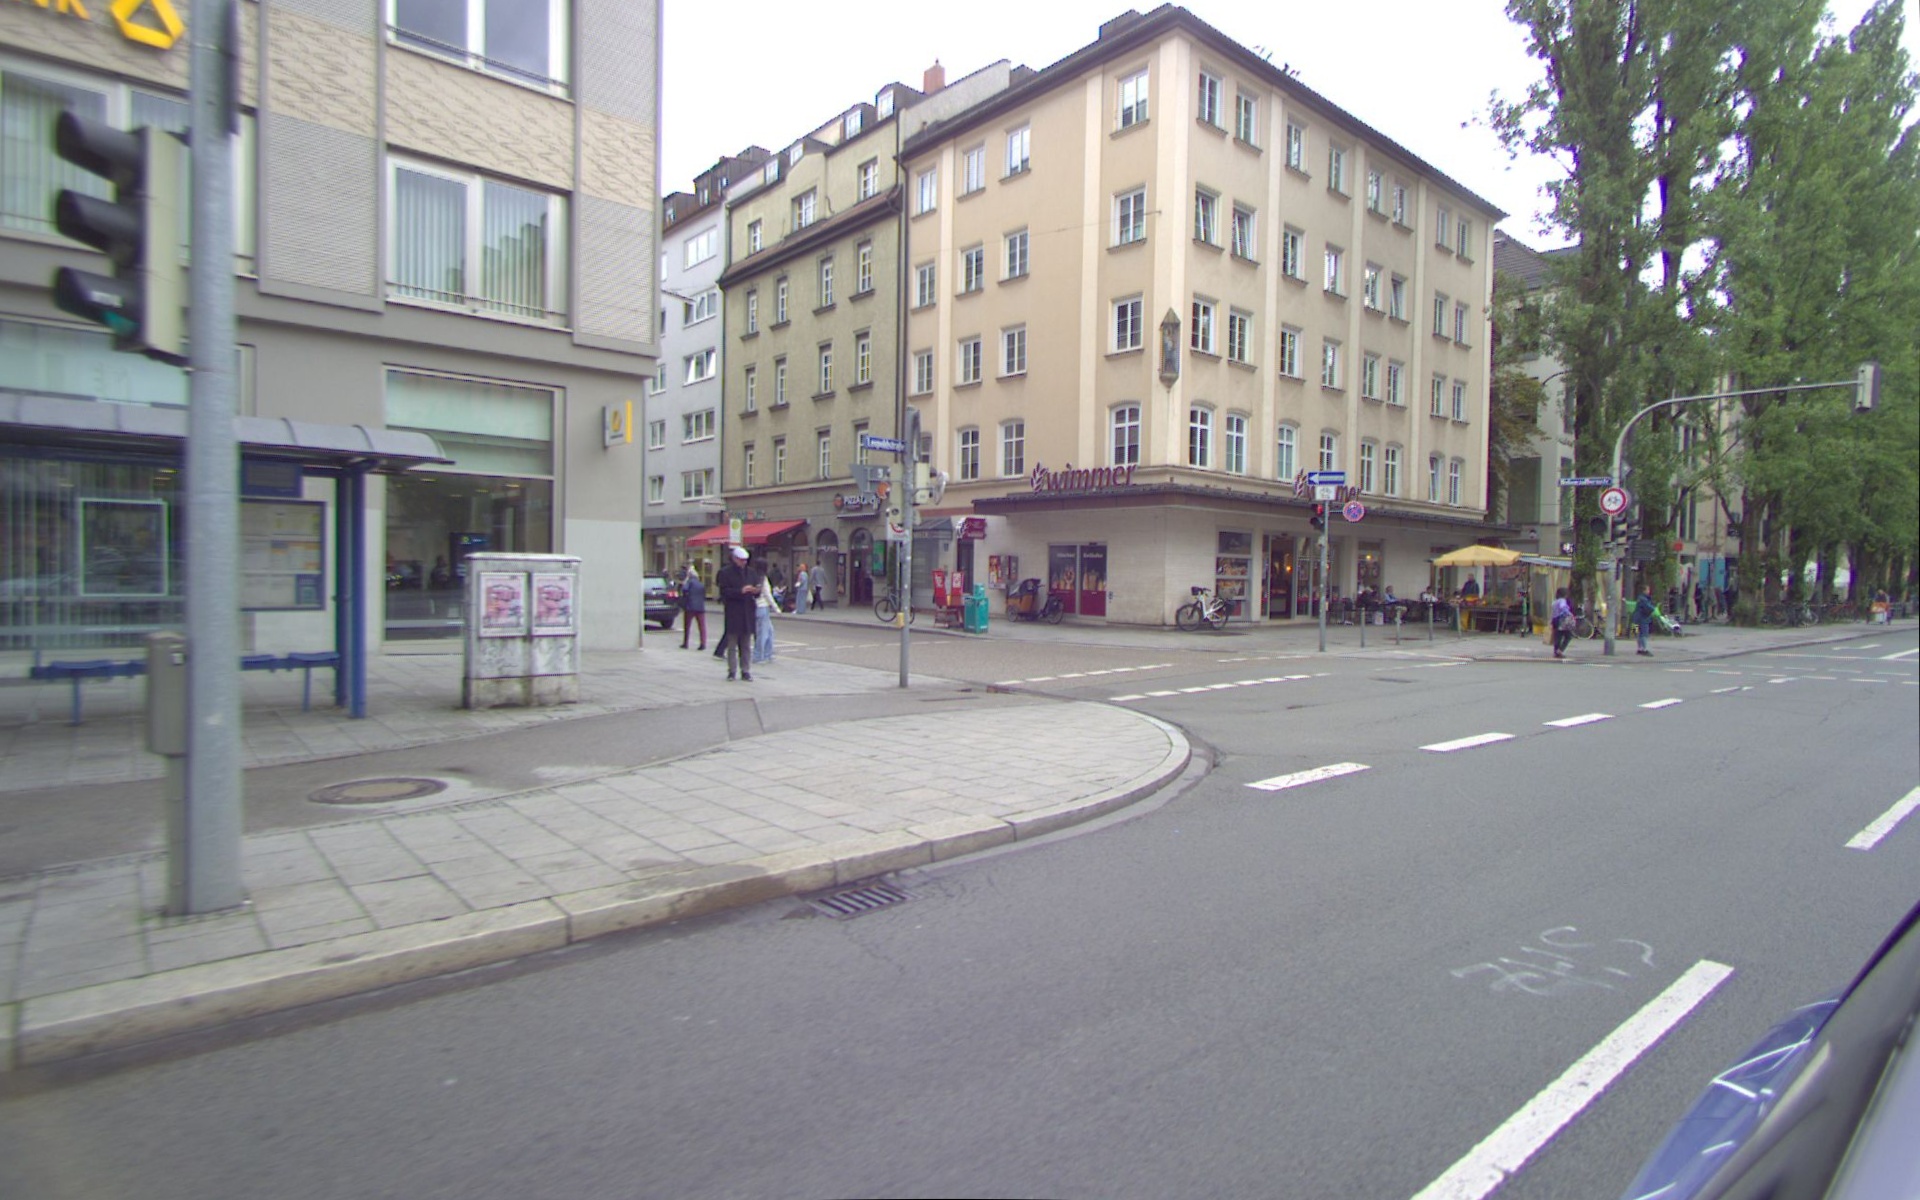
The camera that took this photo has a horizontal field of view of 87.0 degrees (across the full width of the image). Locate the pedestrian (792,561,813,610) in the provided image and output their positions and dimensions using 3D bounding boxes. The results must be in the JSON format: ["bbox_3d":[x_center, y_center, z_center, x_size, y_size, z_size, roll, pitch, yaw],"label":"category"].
[{"bbox_3d":[-5.367,-0.486,34.484,0.573,1.665,0.445,0,0,-32],"label":"pedestrian"}]

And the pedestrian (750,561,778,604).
[{"bbox_3d":[-7.841,-0.695,40.516,0.804,1.717,0.867,0,0,-39],"label":"pedestrian"}]

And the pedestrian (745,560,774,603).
[{"bbox_3d":[-7.653,-0.702,38.628,0.804,1.629,0.867,0,0,-39],"label":"pedestrian"}]

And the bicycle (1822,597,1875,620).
[{"bbox_3d":[43.273,0.401,49.301,0.385,1.021,1.848,1,3,-31],"label":"bicycle"}]

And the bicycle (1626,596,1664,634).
[{"bbox_3d":[19.763,0.417,29.175,1.740,1.061,0.509,0,2,-43],"label":"bicycle"}]

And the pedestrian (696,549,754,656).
[{"bbox_3d":[-4.009,0.030,17.237,0.698,1.780,0.752,0,1,-39],"label":"pedestrian"}]

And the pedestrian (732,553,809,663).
[{"bbox_3d":[-3.153,0.118,16.866,0.999,1.780,0.752,1,1,-39],"label":"pedestrian"}]

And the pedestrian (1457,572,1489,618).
[{"bbox_3d":[18.149,-0.194,35.791,0.687,1.609,0.777,0,1,-40],"label":"pedestrian"}]

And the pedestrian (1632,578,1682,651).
[{"bbox_3d":[16.038,0.311,23.270,0.850,1.629,0.766,0,1,-45],"label":"pedestrian"}]

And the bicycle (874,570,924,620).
[{"bbox_3d":[-1.795,-0.163,29.364,0.472,1.403,1.832,0,2,-38],"label":"bicycle"}]

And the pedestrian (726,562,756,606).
[{"bbox_3d":[-8.173,-0.592,37.732,0.804,1.629,0.867,0,0,-39],"label":"pedestrian"}]

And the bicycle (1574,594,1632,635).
[{"bbox_3d":[17.780,0.387,27.990,1.774,1.084,0.406,0,-4,-25],"label":"bicycle"}]

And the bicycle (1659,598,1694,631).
[{"bbox_3d":[22.562,0.452,31.861,1.740,0.987,0.509,0,2,-43],"label":"bicycle"}]

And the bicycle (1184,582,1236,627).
[{"bbox_3d":[6.736,0.110,27.225,1.780,1.185,0.435,-1,1,-42],"label":"bicycle"}]

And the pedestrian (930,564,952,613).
[{"bbox_3d":[-0.624,-0.367,32.888,0.437,1.577,0.584,0,0,-39],"label":"pedestrian"}]

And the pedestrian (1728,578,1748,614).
[{"bbox_3d":[40.322,-0.207,52.459,0.662,1.806,0.658,0,1,-39],"label":"pedestrian"}]

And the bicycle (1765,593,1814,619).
[{"bbox_3d":[37.697,0.277,46.020,1.669,1.131,0.282,2,2,38],"label":"bicycle"}]

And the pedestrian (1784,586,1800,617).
[{"bbox_3d":[47.625,0.101,57.933,0.684,1.764,0.566,0,0,-38],"label":"pedestrian"}]

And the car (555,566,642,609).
[{"bbox_3d":[-13.558,-0.501,37.853,1.728,1.479,3.995,0,2,-41],"label":"car"}]

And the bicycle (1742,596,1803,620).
[{"bbox_3d":[34.767,0.334,43.337,1.997,0.957,0.282,3,2,42],"label":"bicycle"}]

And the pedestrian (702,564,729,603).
[{"bbox_3d":[-10.360,-0.713,42.907,0.804,1.629,0.867,0,0,-39],"label":"pedestrian"}]

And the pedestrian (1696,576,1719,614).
[{"bbox_3d":[37.657,-0.273,50.979,0.889,1.874,0.658,0,1,-39],"label":"pedestrian"}]

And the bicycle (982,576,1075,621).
[{"bbox_3d":[1.990,-0.071,30.085,0.982,1.268,2.976,-1,1,-40],"label":"bicycle"}]

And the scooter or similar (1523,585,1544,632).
[{"bbox_3d":[15.824,0.211,27.929,0.405,1.259,1.355,1,1,33],"label":"scooter or similar"}]

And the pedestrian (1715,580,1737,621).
[{"bbox_3d":[38.153,0.012,50.436,0.709,1.995,0.658,1,1,-38],"label":"pedestrian"}]

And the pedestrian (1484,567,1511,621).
[{"bbox_3d":[17.037,-0.186,32.066,0.526,1.694,0.542,0,1,-33],"label":"pedestrian"}]

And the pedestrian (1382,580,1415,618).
[{"bbox_3d":[14.868,-0.046,34.322,0.687,1.280,0.777,0,1,-40],"label":"pedestrian"}]

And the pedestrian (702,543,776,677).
[{"bbox_3d":[-3.025,0.120,13.860,0.739,1.780,0.710,0,1,-39],"label":"pedestrian"}]

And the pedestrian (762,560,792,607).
[{"bbox_3d":[-7.023,-0.625,38.774,0.804,1.790,0.867,0,0,-39],"label":"pedestrian"}]

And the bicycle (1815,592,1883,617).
[{"bbox_3d":[47.045,0.216,53.576,0.948,1.230,2.577,0,2,-40],"label":"bicycle"}]

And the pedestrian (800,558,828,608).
[{"bbox_3d":[-5.274,-0.609,36.436,0.663,1.790,1.003,0,0,-31],"label":"pedestrian"}]

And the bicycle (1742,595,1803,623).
[{"bbox_3d":[34.557,0.374,43.087,1.996,1.096,0.282,2,2,41],"label":"bicycle"}]

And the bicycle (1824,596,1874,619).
[{"bbox_3d":[47.918,0.392,54.571,0.674,1.141,1.902,1,1,-40],"label":"bicycle"}]

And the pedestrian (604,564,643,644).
[{"bbox_3d":[-6.626,0.071,19.927,0.574,1.550,0.444,0,1,-44],"label":"pedestrian"}]

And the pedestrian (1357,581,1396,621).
[{"bbox_3d":[13.675,0.010,33.212,0.687,1.212,0.871,0,6,-40],"label":"pedestrian"}]

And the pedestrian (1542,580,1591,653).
[{"bbox_3d":[13.219,0.353,22.068,0.608,1.536,0.769,0,2,4],"label":"pedestrian"}]

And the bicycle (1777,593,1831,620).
[{"bbox_3d":[39.057,0.292,46.840,1.864,1.149,0.335,2,2,42],"label":"bicycle"}]

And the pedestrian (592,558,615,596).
[{"bbox_3d":[-17.559,-1.132,49.870,0.818,1.826,0.867,0,0,-39],"label":"pedestrian"}]

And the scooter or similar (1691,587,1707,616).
[{"bbox_3d":[33.238,0.081,45.492,1.018,1.289,0.331,0,1,-41],"label":"scooter or similar"}]

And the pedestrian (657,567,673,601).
[{"bbox_3d":[-12.747,-0.701,43.726,0.573,1.450,0.445,0,1,-32],"label":"pedestrian"}]

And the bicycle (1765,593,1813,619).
[{"bbox_3d":[37.960,0.275,46.354,1.657,1.120,0.391,2,2,39],"label":"bicycle"}]

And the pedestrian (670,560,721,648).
[{"bbox_3d":[-5.180,0.062,19.806,0.721,1.656,0.752,-2,4,-38],"label":"pedestrian"}]

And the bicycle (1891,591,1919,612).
[{"bbox_3d":[63.754,0.095,68.090,0.819,1.429,2.579,1,1,23],"label":"bicycle"}]

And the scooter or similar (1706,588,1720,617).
[{"bbox_3d":[33.525,0.097,45.062,1.018,1.289,0.247,0,1,-41],"label":"scooter or similar"}]

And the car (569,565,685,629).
[{"bbox_3d":[-9.141,-0.125,27.599,1.728,1.568,3.997,0,2,-39],"label":"car"}]
